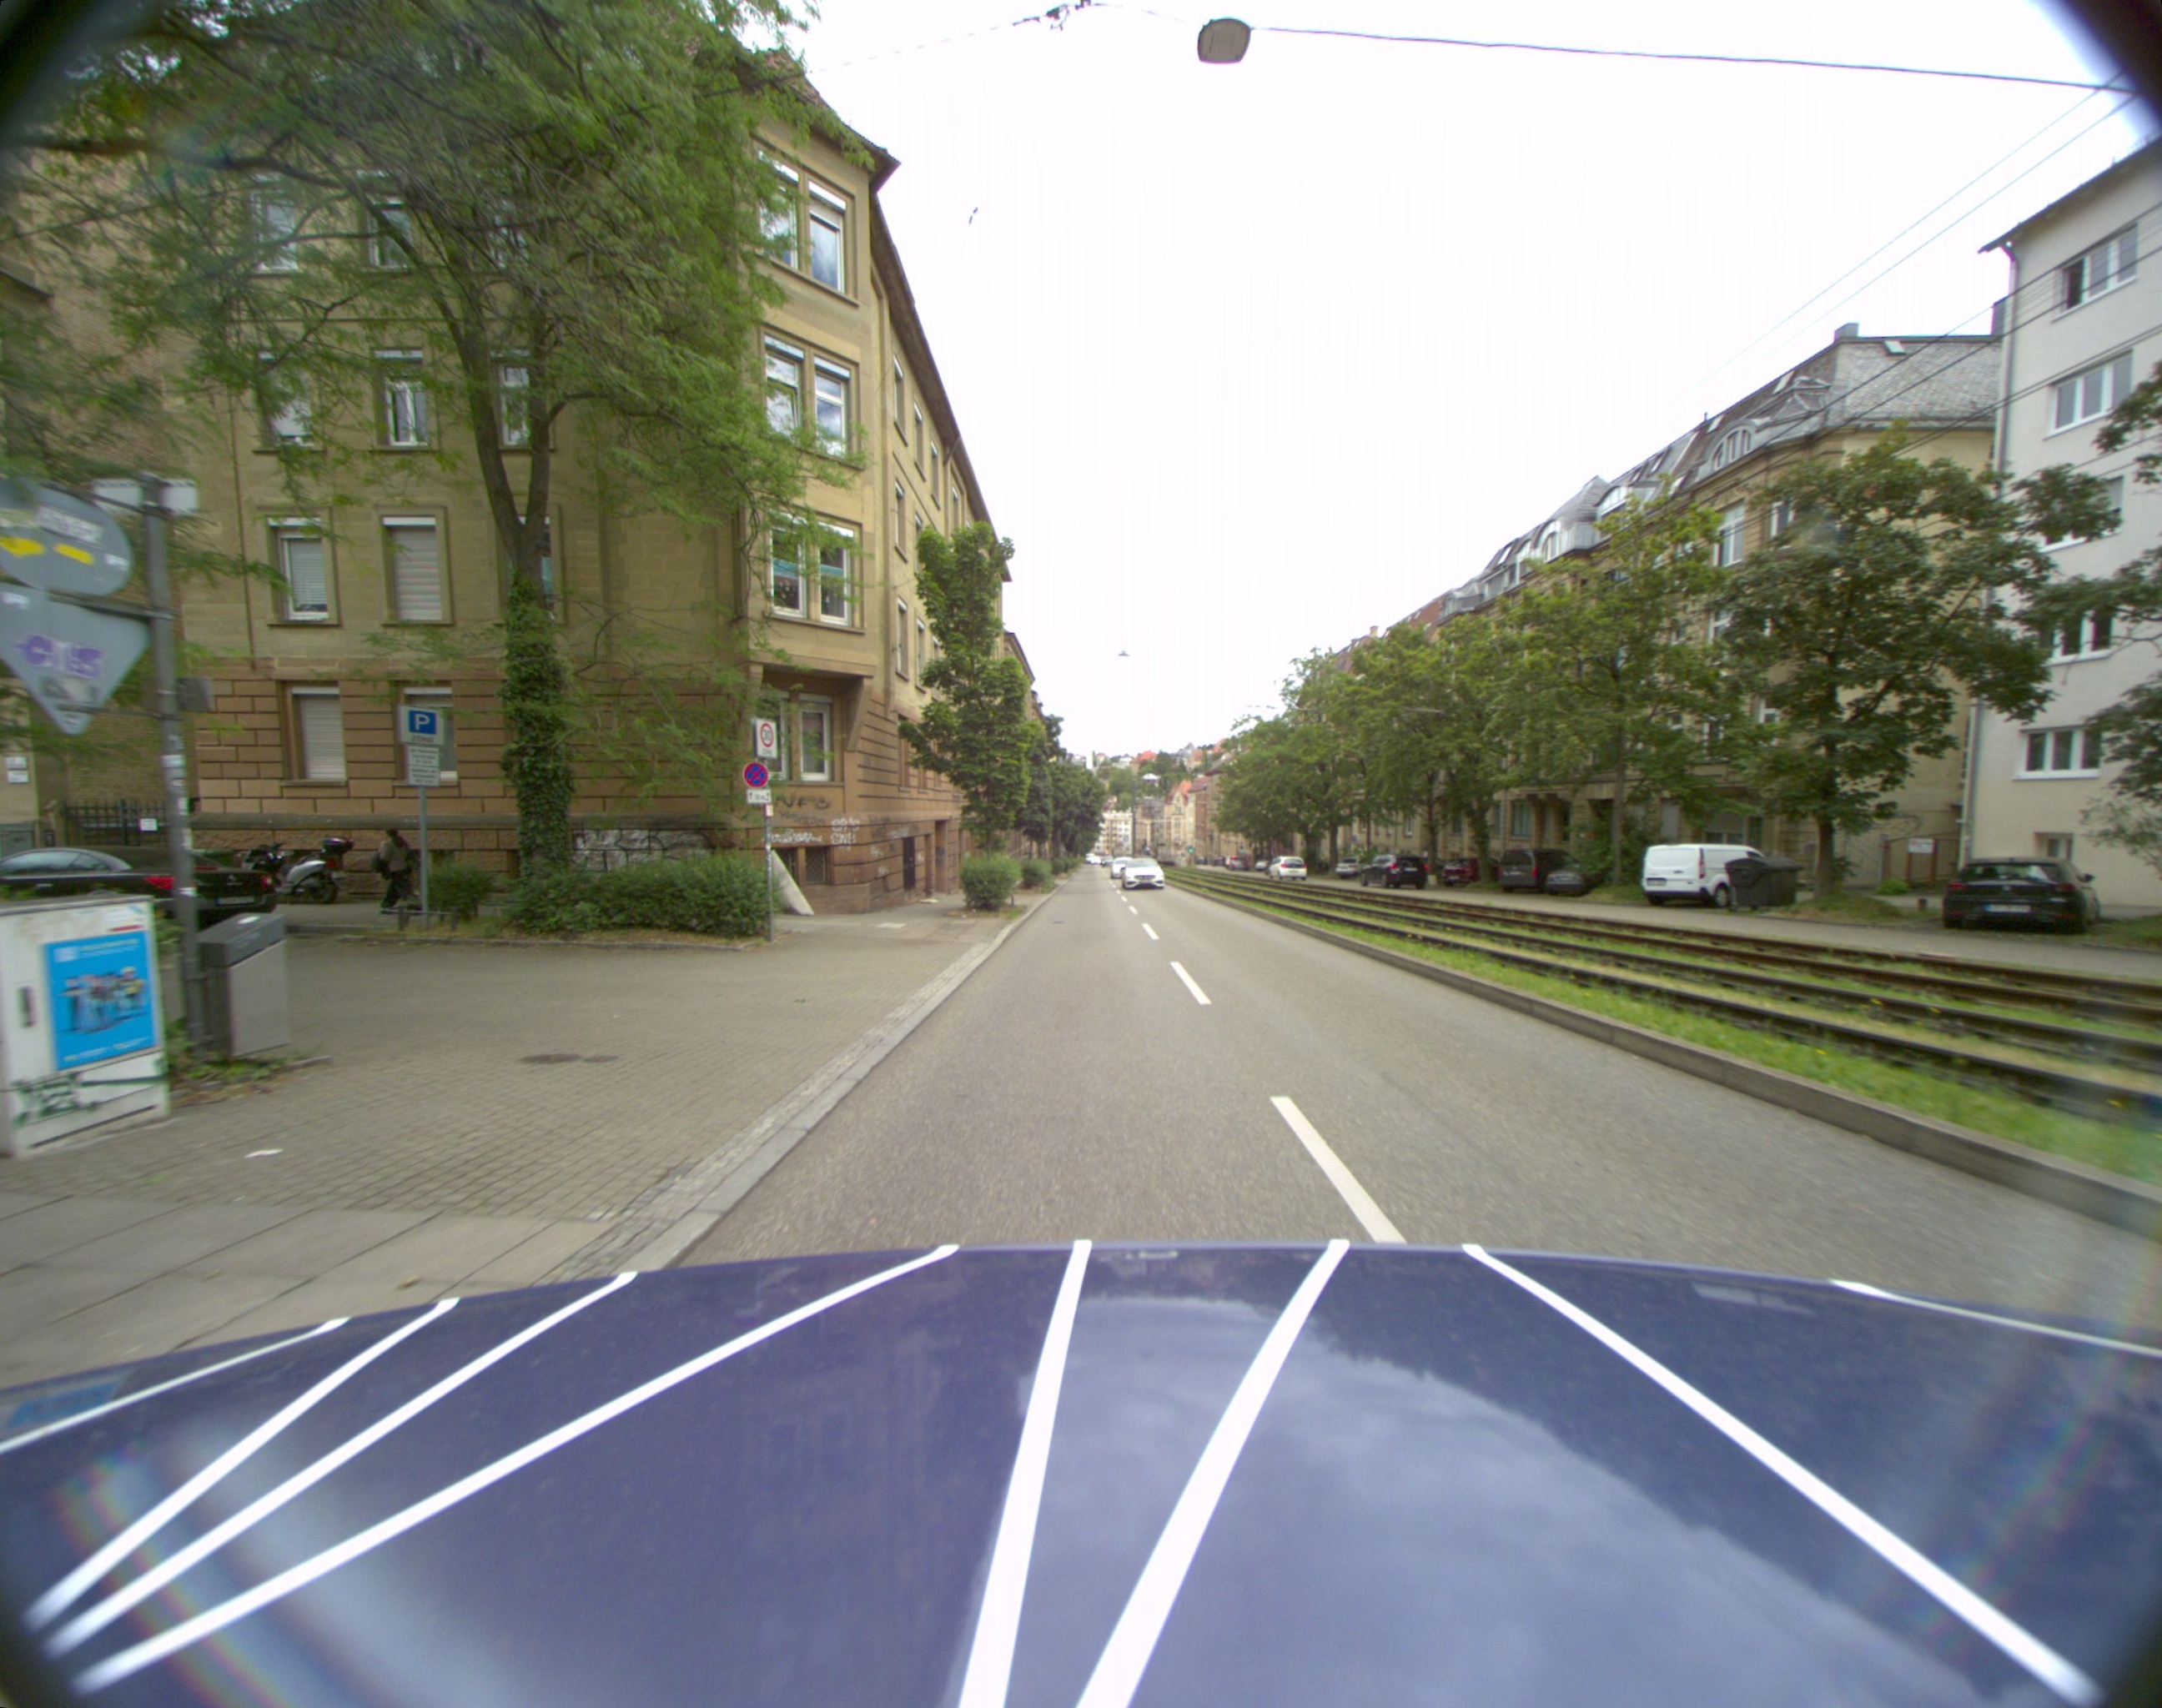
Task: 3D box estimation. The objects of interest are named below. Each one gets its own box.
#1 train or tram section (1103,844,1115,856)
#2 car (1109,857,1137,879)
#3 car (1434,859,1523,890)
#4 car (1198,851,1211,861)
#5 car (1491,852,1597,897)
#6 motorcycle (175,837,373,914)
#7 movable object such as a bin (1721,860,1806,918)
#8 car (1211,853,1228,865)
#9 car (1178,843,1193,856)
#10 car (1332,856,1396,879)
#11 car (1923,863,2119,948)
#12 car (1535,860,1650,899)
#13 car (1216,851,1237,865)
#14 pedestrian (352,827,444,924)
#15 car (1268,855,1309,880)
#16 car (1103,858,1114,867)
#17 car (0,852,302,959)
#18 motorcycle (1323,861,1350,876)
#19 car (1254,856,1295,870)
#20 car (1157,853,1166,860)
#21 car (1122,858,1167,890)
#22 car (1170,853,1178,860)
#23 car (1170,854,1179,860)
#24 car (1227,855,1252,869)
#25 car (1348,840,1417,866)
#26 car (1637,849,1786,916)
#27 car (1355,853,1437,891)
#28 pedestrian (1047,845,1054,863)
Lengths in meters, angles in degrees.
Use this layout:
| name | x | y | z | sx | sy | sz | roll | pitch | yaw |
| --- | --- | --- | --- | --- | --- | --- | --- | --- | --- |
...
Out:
| name | x | y | z | sx | sy | sz | roll | pitch | yaw |
| --- | --- | --- | --- | --- | --- | --- | --- | --- | --- |
| train or tram section | 8.522 | -1.238 | 230.111 | 2.968 | 3.455 | 14.409 | 0 | -1 | -1 |
| car | 2.969 | 0.995 | 54.345 | 1.806 | 1.541 | 4.001 | -1 | -1 | 1 |
| car | 19.490 | 0.968 | 37.230 | 4.198 | 1.427 | 1.867 | 0 | 0 | -29 |
| car | 21.435 | 0.369 | 132.009 | 1.884 | 1.640 | 4.471 | 1 | 0 | 3 |
| car | 19.039 | 0.784 | 31.243 | 4.198 | 1.757 | 1.867 | 0 | 0 | -29 |
| motorcycle | -15.811 | 0.406 | 14.943 | 2.926 | 1.428 | 0.838 | 0 | 4 | 1 |
| movable object such as a bin | 17.522 | 0.879 | 19.516 | 1.279 | 1.393 | 1.095 | -1 | 1 | -15 |
| car | 20.289 | 0.740 | 111.240 | 1.784 | 1.647 | 4.243 | 1 | 0 | 1 |
| car | 22.286 | -0.886 | 162.373 | 2.398 | 2.683 | 6.519 | 1 | 0 | 2 |
| car | 19.085 | 0.915 | 51.196 | 4.162 | 1.461 | 1.781 | 1 | 1 | -31 |
| car | 19.181 | 0.934 | 15.459 | 4.614 | 1.337 | 1.932 | -2 | 0 | -32 |
| car | 19.165 | 0.910 | 28.442 | 4.198 | 1.331 | 1.867 | 0 | 0 | -29 |
| car | 17.988 | 0.514 | 93.916 | 1.784 | 1.607 | 4.346 | 1 | 0 | 1 |
| pedestrian | -12.510 | 0.375 | 13.944 | 0.861 | 1.678 | 0.848 | 2 | 5 | 0 |
| car | 12.745 | 0.824 | 46.873 | 1.592 | 1.427 | 3.413 | 1 | 0 | 0 |
| car | 4.011 | 1.287 | 111.017 | 1.562 | 1.330 | 4.001 | 0 | -1 | 1 |
| car | -15.092 | 0.735 | 11.791 | 4.097 | 1.371 | 1.811 | 2 | 0 | 0 |
| motorcycle | 18.944 | 1.087 | 56.285 | 2.209 | 1.052 | 0.623 | -2 | 1 | -33 |
| car | 20.043 | 0.942 | 78.578 | 4.006 | 1.414 | 1.782 | 0 | 0 | -30 |
| car | 19.813 | 0.724 | 186.525 | 1.884 | 1.640 | 4.471 | 1 | 0 | 3 |
| car | 2.937 | 0.935 | 35.756 | 1.806 | 1.391 | 4.000 | -1 | -1 | 0 |
| car | 23.269 | 0.633 | 190.197 | 1.884 | 1.640 | 4.471 | 1 | 0 | 3 |
| car | 21.532 | 0.638 | 174.784 | 1.752 | 1.420 | 4.749 | 1 | 0 | 3 |
| car | 16.648 | 0.847 | 79.947 | 1.729 | 1.402 | 4.598 | 1 | 0 | 1 |
| car | 18.866 | -0.053 | 47.490 | 4.198 | 1.564 | 1.867 | 0 | 0 | -31 |
| car | 18.882 | 0.788 | 22.748 | 4.197 | 1.825 | 1.868 | 0 | 0 | -26 |
| car | 14.570 | 0.786 | 35.420 | 1.922 | 1.640 | 4.607 | 1 | 0 | 0 |
| pedestrian | -3.222 | -0.037 | 80.884 | 0.687 | 1.819 | 1.121 | 1 | 3 | 1 |
